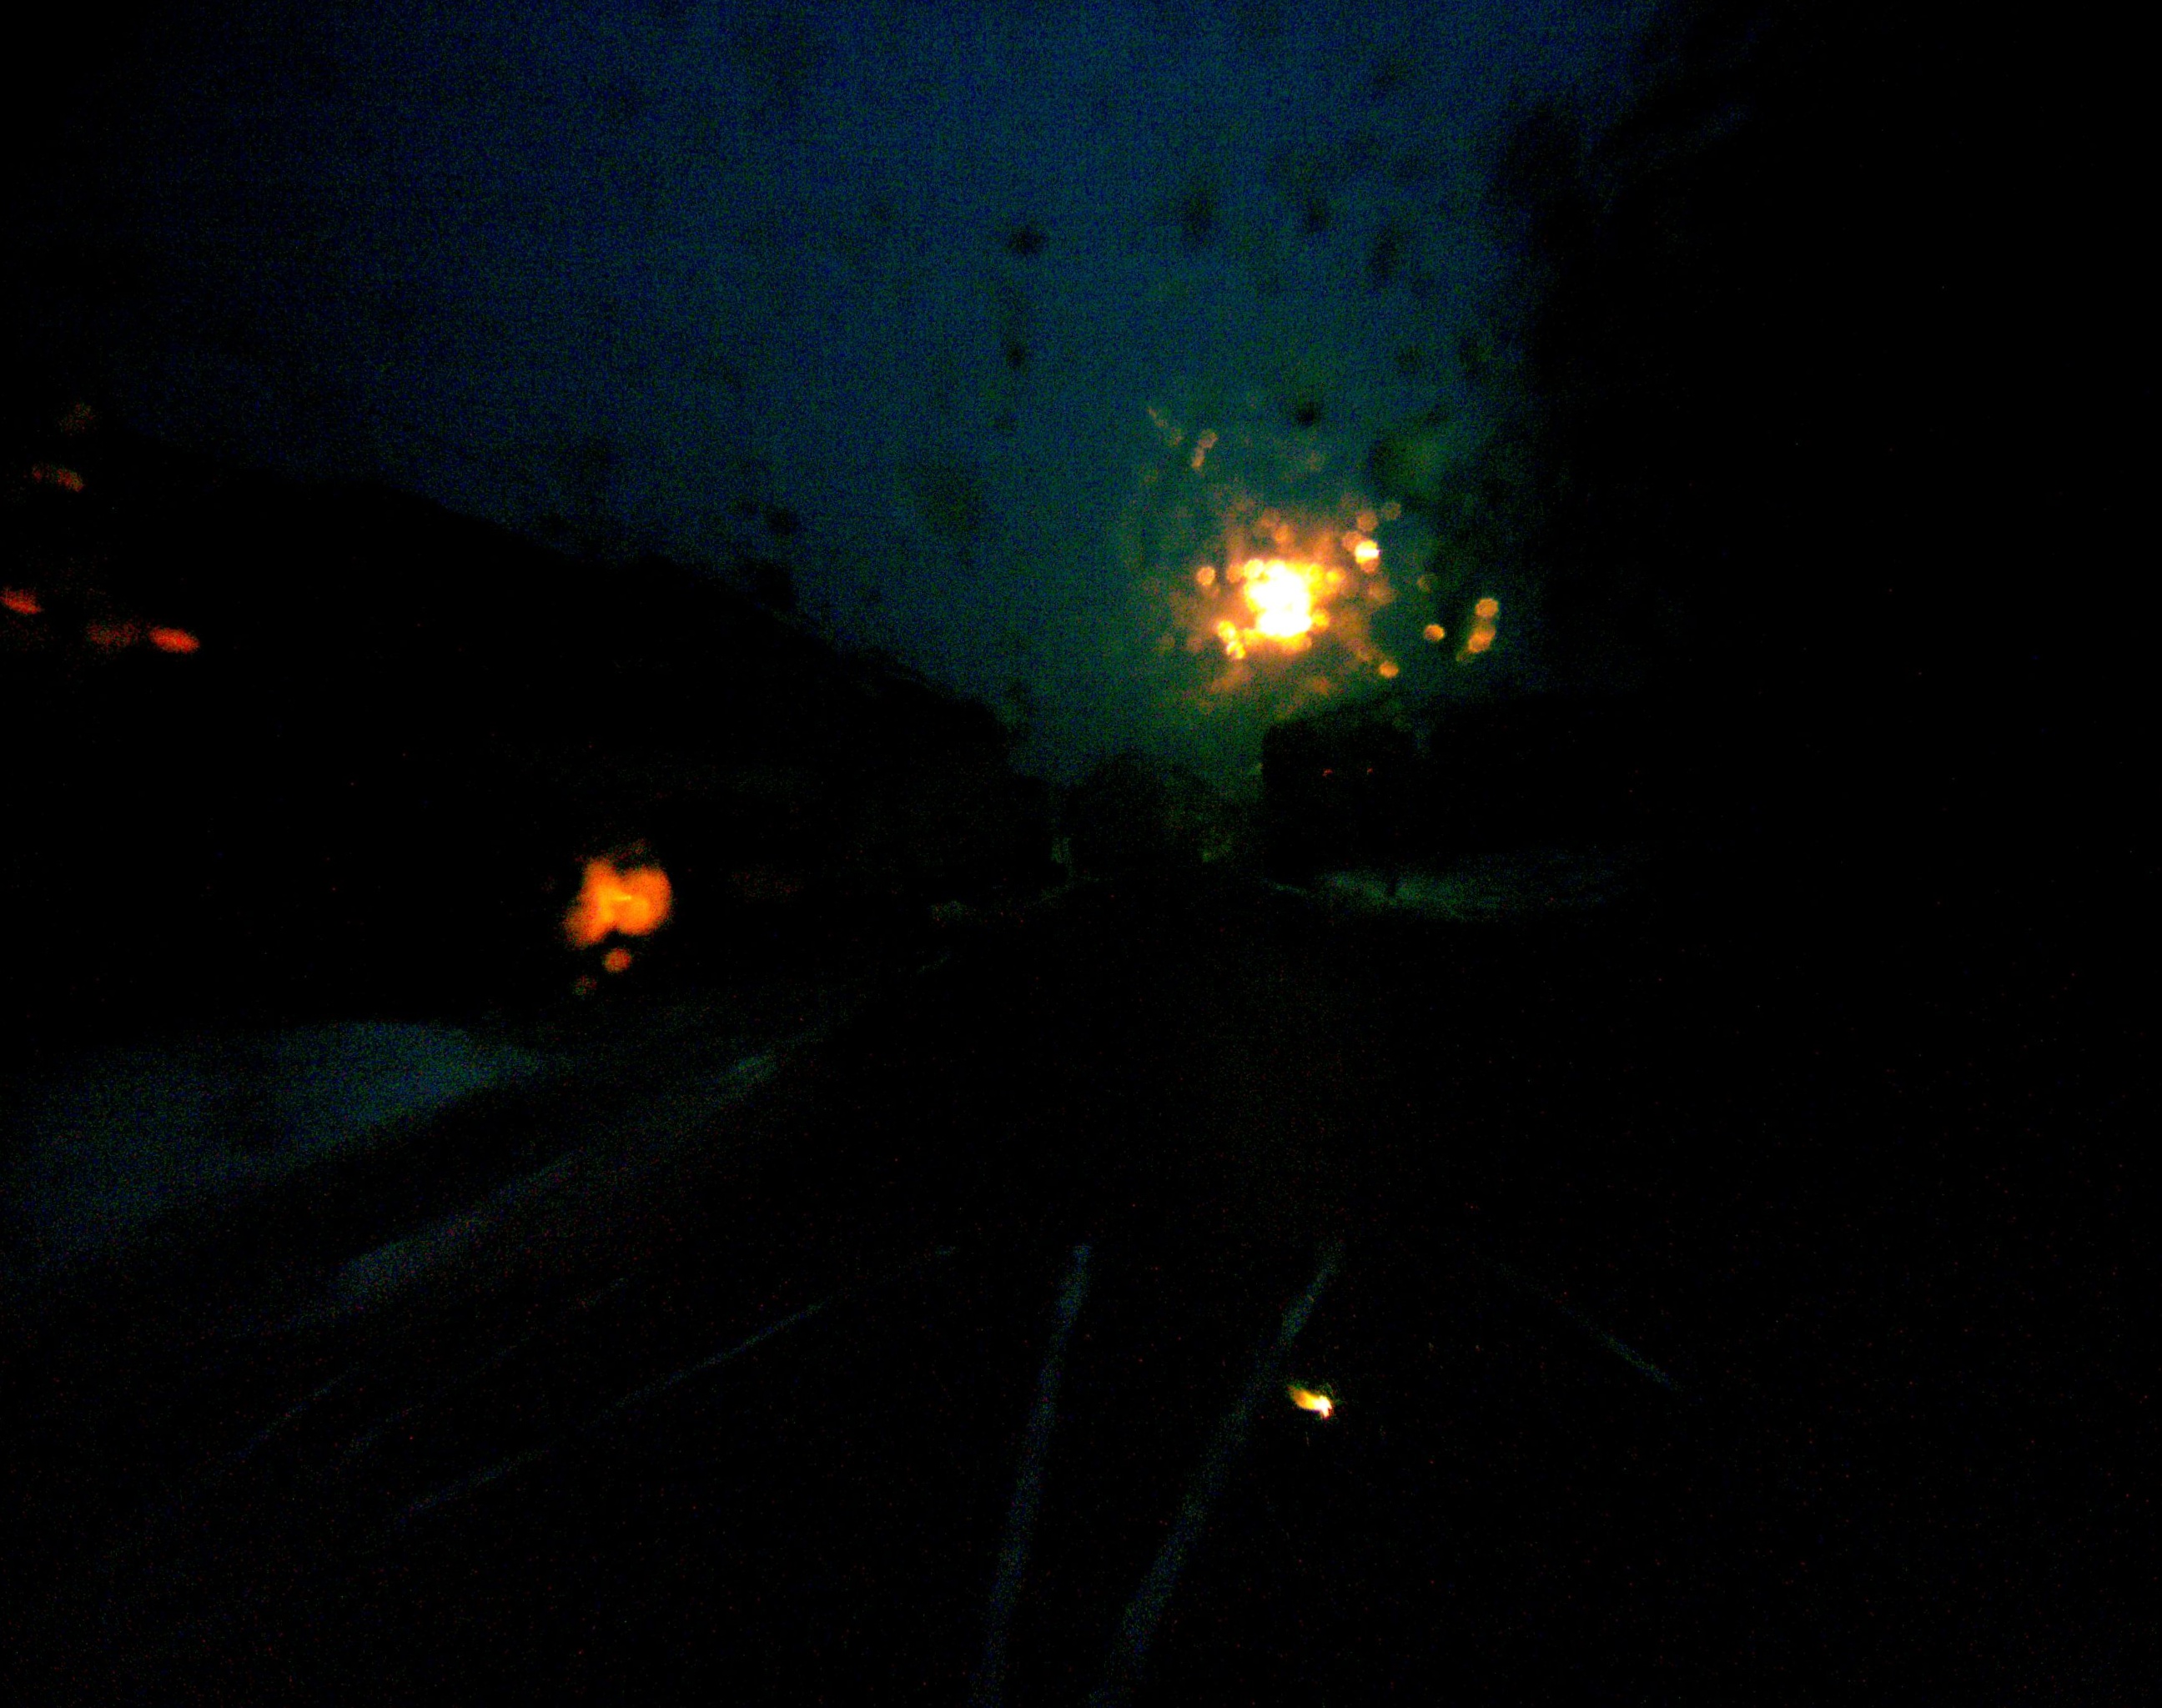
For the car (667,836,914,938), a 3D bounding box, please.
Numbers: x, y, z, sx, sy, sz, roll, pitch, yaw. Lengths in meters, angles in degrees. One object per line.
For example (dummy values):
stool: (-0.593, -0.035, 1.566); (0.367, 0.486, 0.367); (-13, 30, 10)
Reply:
car: (-5.732, 0.621, 15.201); (4.212, 1.848, 1.913); (-1, 2, 13)
